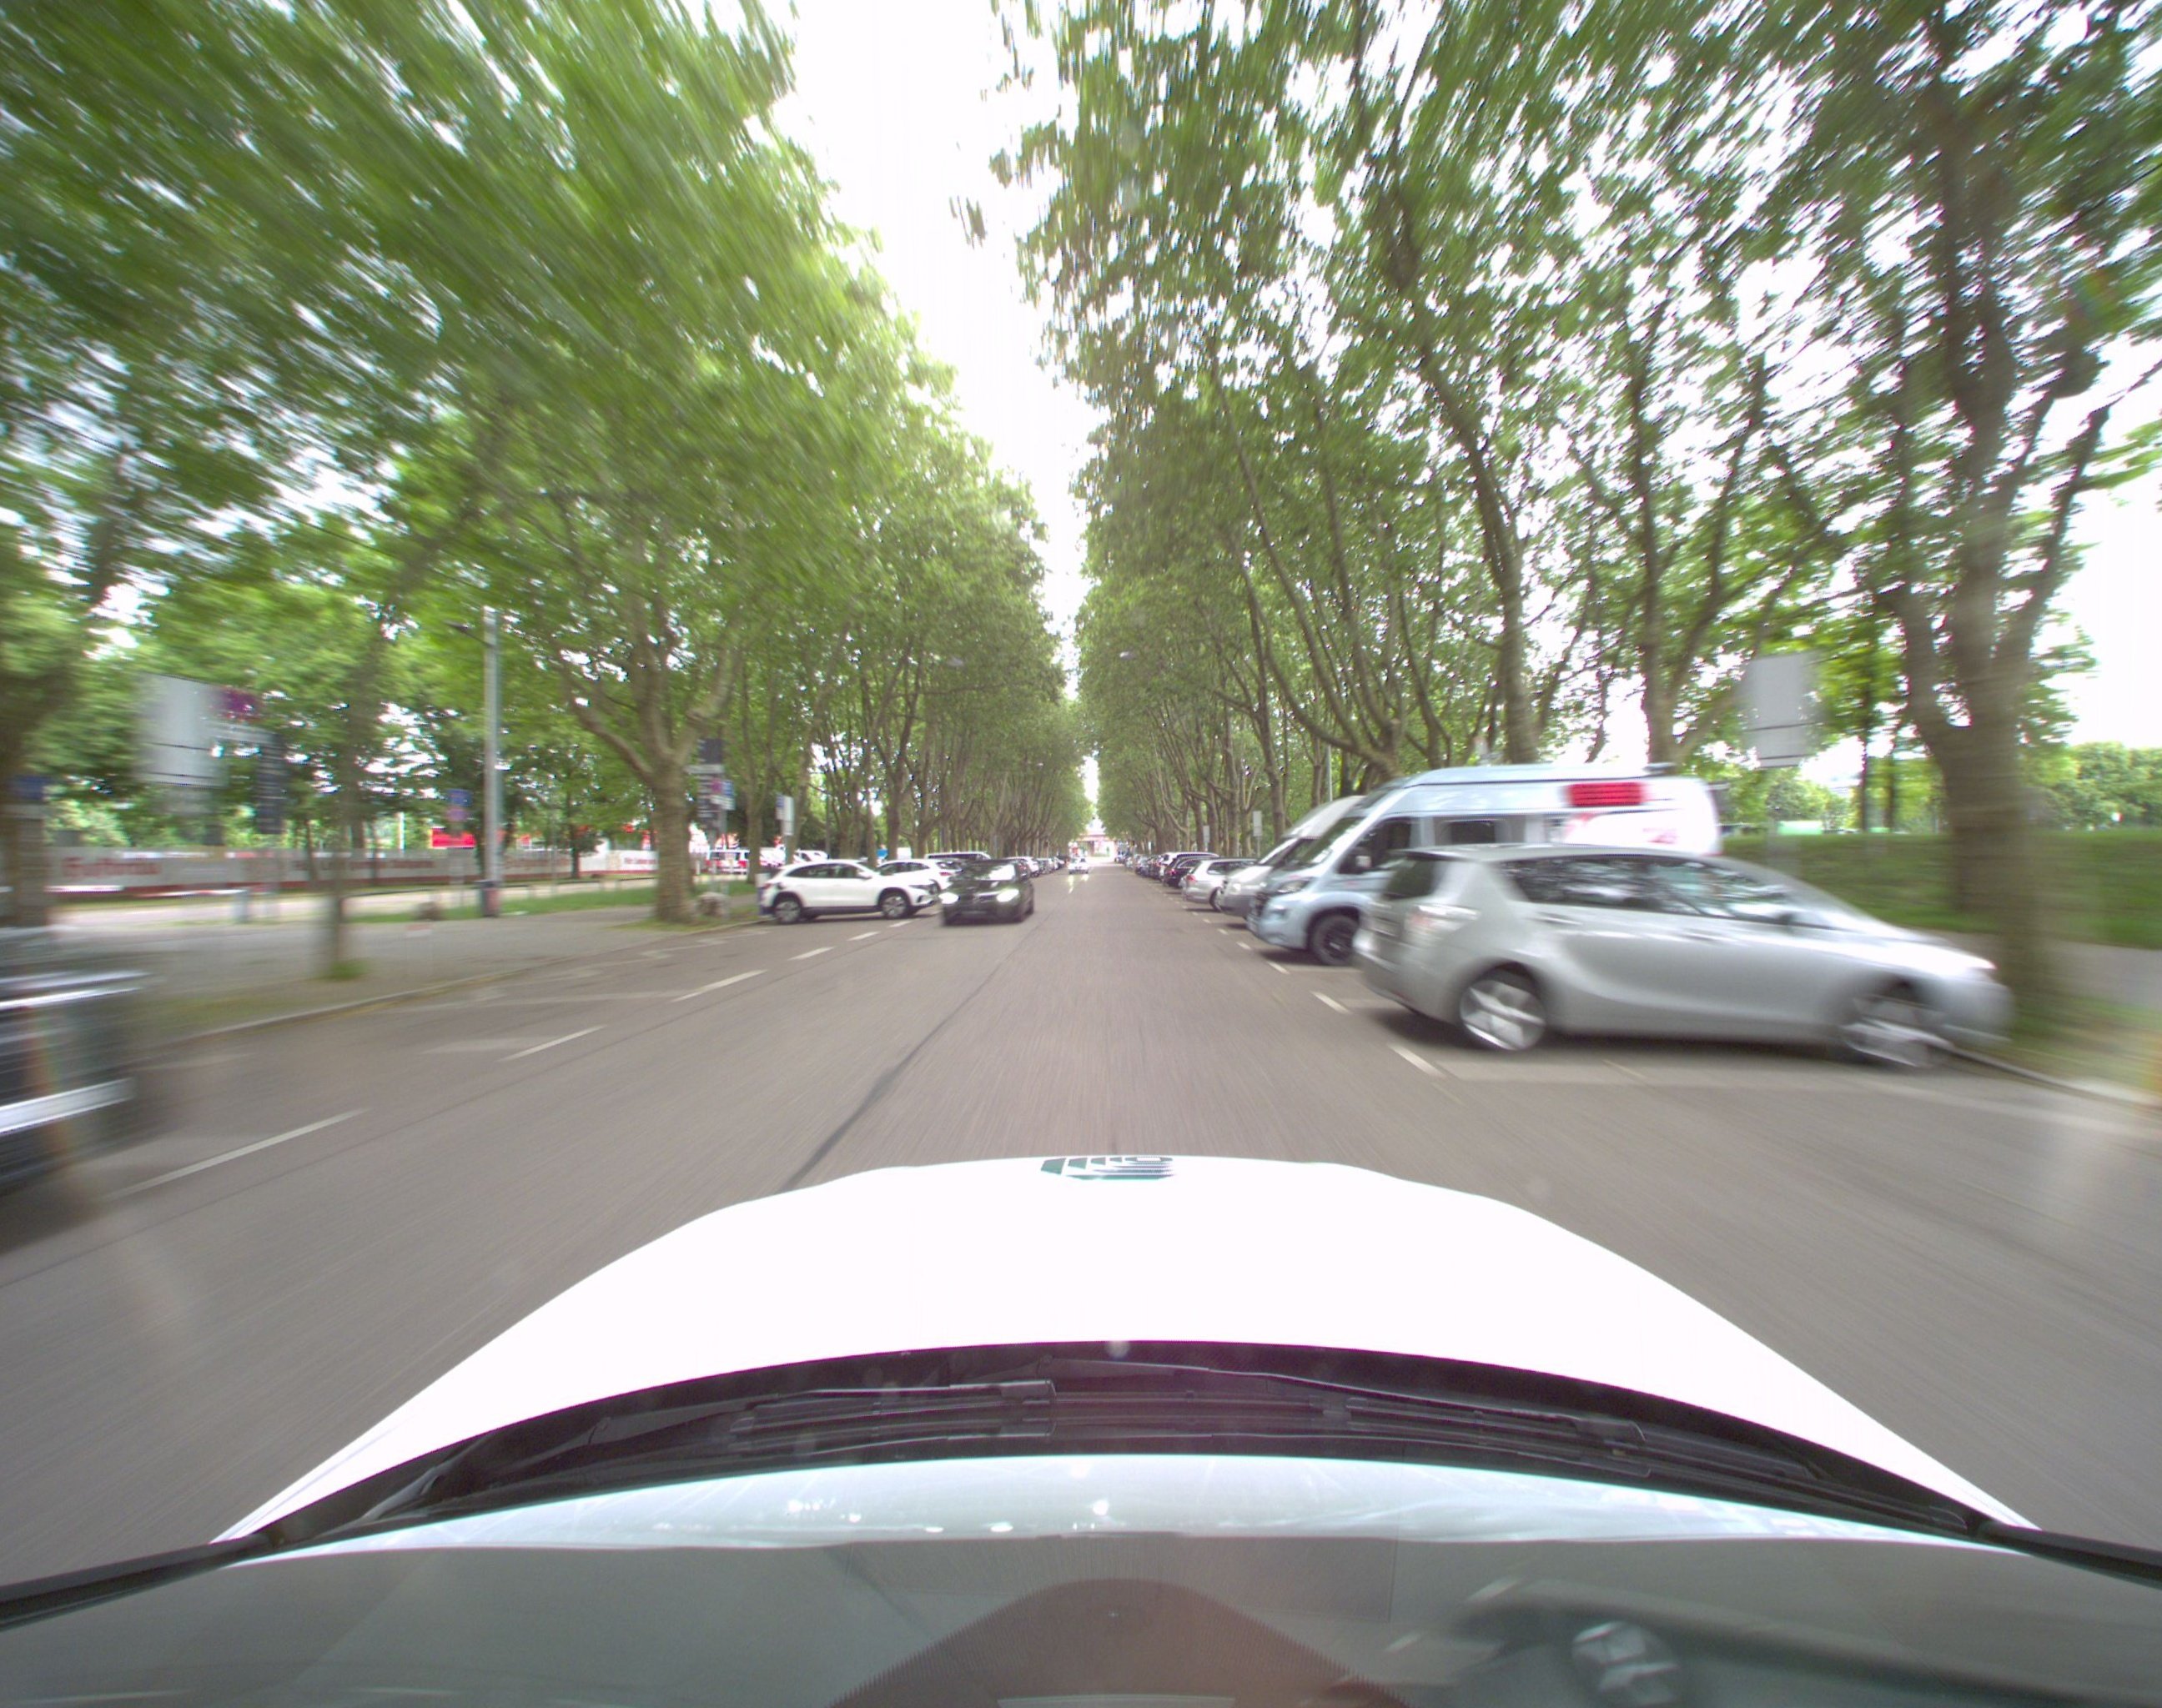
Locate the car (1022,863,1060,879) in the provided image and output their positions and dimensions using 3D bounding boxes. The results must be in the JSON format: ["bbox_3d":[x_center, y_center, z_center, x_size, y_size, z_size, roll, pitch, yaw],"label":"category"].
[{"bbox_3d":[-4.167,1.738,84.668,3.816,1.497,1.693,-3,0,-2],"label":"car"}]

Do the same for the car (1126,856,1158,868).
[{"bbox_3d":[7.209,0.957,97.109,3.636,1.424,1.984,0,0,-2],"label":"car"}]

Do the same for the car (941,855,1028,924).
[{"bbox_3d":[-2.194,0.772,19.479,1.650,1.364,4.109,-3,0,-2],"label":"car"}]

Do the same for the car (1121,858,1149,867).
[{"bbox_3d":[9.201,1.386,138.676,4.551,1.486,2.003,0,0,6],"label":"car"}]

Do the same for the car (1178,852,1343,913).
[{"bbox_3d":[4.726,0.738,21.856,4.102,1.429,1.704,2,-1,3],"label":"car"}]

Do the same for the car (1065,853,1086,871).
[{"bbox_3d":[-0.465,0.705,70.926,1.683,1.471,3.839,-3,0,0],"label":"car"}]

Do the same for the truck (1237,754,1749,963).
[{"bbox_3d":[5.556,0.064,11.648,6.271,2.715,2.098,0,0,1],"label":"truck"}]

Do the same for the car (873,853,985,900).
[{"bbox_3d":[-6.422,0.933,34.852,4.327,1.667,1.999,-4,0,-1],"label":"car"}]

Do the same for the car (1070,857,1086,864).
[{"bbox_3d":[-0.799,1.602,201.180,3.796,1.515,1.688,-1,-1,4],"label":"car"}]

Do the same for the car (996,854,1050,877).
[{"bbox_3d":[-4.579,0.921,64.637,4.050,1.608,1.801,-3,0,3],"label":"car"}]

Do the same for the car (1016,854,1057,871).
[{"bbox_3d":[-4.290,0.792,79.218,3.816,1.430,1.693,-3,0,-2],"label":"car"}]

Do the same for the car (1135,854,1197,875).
[{"bbox_3d":[5.923,0.735,57.042,4.198,1.451,1.610,0,0,-1],"label":"car"}]

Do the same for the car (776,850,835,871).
[{"bbox_3d":[-31.542,0.745,93.318,5.980,2.305,2.000,0,0,1],"label":"car"}]

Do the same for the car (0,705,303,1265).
[{"bbox_3d":[-6.832,0.624,3.256,5.418,2.128,1.940,-3,0,0],"label":"car"}]

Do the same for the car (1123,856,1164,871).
[{"bbox_3d":[6.637,1.022,87.040,4.156,1.596,1.853,0,0,-2],"label":"car"}]

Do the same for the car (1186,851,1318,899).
[{"bbox_3d":[5.642,0.682,27.200,4.032,1.526,1.814,0,0,-1],"label":"car"}]

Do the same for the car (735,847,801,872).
[{"bbox_3d":[-32.199,0.588,83.753,5.980,2.527,2.000,0,0,1],"label":"car"}]

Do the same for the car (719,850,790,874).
[{"bbox_3d":[-31.417,0.777,78.445,5.980,2.252,2.000,0,0,1],"label":"car"}]

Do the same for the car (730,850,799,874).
[{"bbox_3d":[-31.487,0.816,81.120,5.980,2.318,2.000,0,0,1],"label":"car"}]

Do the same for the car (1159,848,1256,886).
[{"bbox_3d":[6.023,0.619,39.058,4.371,1.755,1.800,0,0,-1],"label":"car"}]

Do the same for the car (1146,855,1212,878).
[{"bbox_3d":[5.900,0.768,49.513,3.815,1.389,1.694,0,0,-1],"label":"car"}]

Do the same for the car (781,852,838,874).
[{"bbox_3d":[-31.829,1.057,95.623,5.980,2.527,2.000,0,0,1],"label":"car"}]

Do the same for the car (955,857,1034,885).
[{"bbox_3d":[-5.232,1.024,49.563,4.426,1.452,1.777,-3,0,5],"label":"car"}]

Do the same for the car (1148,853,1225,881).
[{"bbox_3d":[5.699,0.708,44.417,3.974,1.486,1.694,0,0,-1],"label":"car"}]

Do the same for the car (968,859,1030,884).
[{"bbox_3d":[-5.442,1.166,54.310,3.985,1.471,1.536,-3,0,-2],"label":"car"}]

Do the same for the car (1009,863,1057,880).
[{"bbox_3d":[-4.507,1.665,76.701,4.389,1.365,1.693,-3,0,-2],"label":"car"}]

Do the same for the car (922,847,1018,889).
[{"bbox_3d":[-6.003,0.771,44.543,4.877,2.019,1.919,-3,-1,0],"label":"car"}]

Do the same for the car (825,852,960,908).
[{"bbox_3d":[-6.714,0.916,29.398,4.327,1.667,1.999,-4,0,-1],"label":"car"}]

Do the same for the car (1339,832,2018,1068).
[{"bbox_3d":[4.591,0.682,6.844,4.320,1.618,1.806,1,0,4],"label":"car"}]

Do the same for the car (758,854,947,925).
[{"bbox_3d":[-5.939,0.897,21.570,4.366,1.597,1.999,-3,0,-1],"label":"car"}]

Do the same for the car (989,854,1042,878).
[{"bbox_3d":[-4.914,0.890,61.695,3.816,1.627,1.952,-3,0,-2],"label":"car"}]

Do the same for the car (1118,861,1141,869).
[{"bbox_3d":[8.714,1.980,146.048,4.154,1.442,1.734,0,0,6],"label":"car"}]

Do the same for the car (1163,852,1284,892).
[{"bbox_3d":[5.567,0.691,32.166,4.488,1.526,1.702,0,0,-1],"label":"car"}]

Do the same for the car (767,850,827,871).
[{"bbox_3d":[-31.662,0.729,90.821,5.980,2.330,2.000,0,0,1],"label":"car"}]

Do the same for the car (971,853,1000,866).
[{"bbox_3d":[-16.958,1.008,144.933,5.061,2.232,1.535,0,0,-1],"label":"car"}]

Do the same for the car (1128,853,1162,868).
[{"bbox_3d":[7.235,0.702,91.979,3.636,1.667,1.518,0,0,-2],"label":"car"}]

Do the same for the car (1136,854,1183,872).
[{"bbox_3d":[6.398,0.753,66.921,3.762,1.470,1.667,0,0,1],"label":"car"}]

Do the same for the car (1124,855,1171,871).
[{"bbox_3d":[6.277,0.851,76.741,4.286,1.470,1.622,0,0,-2],"label":"car"}]

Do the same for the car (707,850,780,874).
[{"bbox_3d":[-31.473,0.734,75.990,5.980,2.252,2.000,0,0,1],"label":"car"}]

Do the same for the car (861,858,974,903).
[{"bbox_3d":[-6.351,1.014,31.969,3.975,1.475,1.842,-4,0,-1],"label":"car"}]

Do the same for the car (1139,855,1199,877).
[{"bbox_3d":[5.852,0.787,54.474,3.815,1.455,1.694,0,0,-1],"label":"car"}]

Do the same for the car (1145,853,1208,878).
[{"bbox_3d":[6.068,0.723,52.117,3.815,1.607,1.694,0,0,-1],"label":"car"}]

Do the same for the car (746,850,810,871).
[{"bbox_3d":[-31.971,0.673,85.981,5.980,2.240,2.000,0,0,1],"label":"car"}]

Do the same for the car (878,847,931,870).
[{"bbox_3d":[-20.662,0.548,95.611,5.764,2.597,2.001,0,0,2],"label":"car"}]

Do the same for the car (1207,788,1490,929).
[{"bbox_3d":[5.331,0.083,16.783,5.208,2.689,1.958,1,0,2],"label":"car"}]

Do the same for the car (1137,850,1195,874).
[{"bbox_3d":[6.149,0.585,59.234,4.098,1.670,1.695,0,0,1],"label":"car"}]
